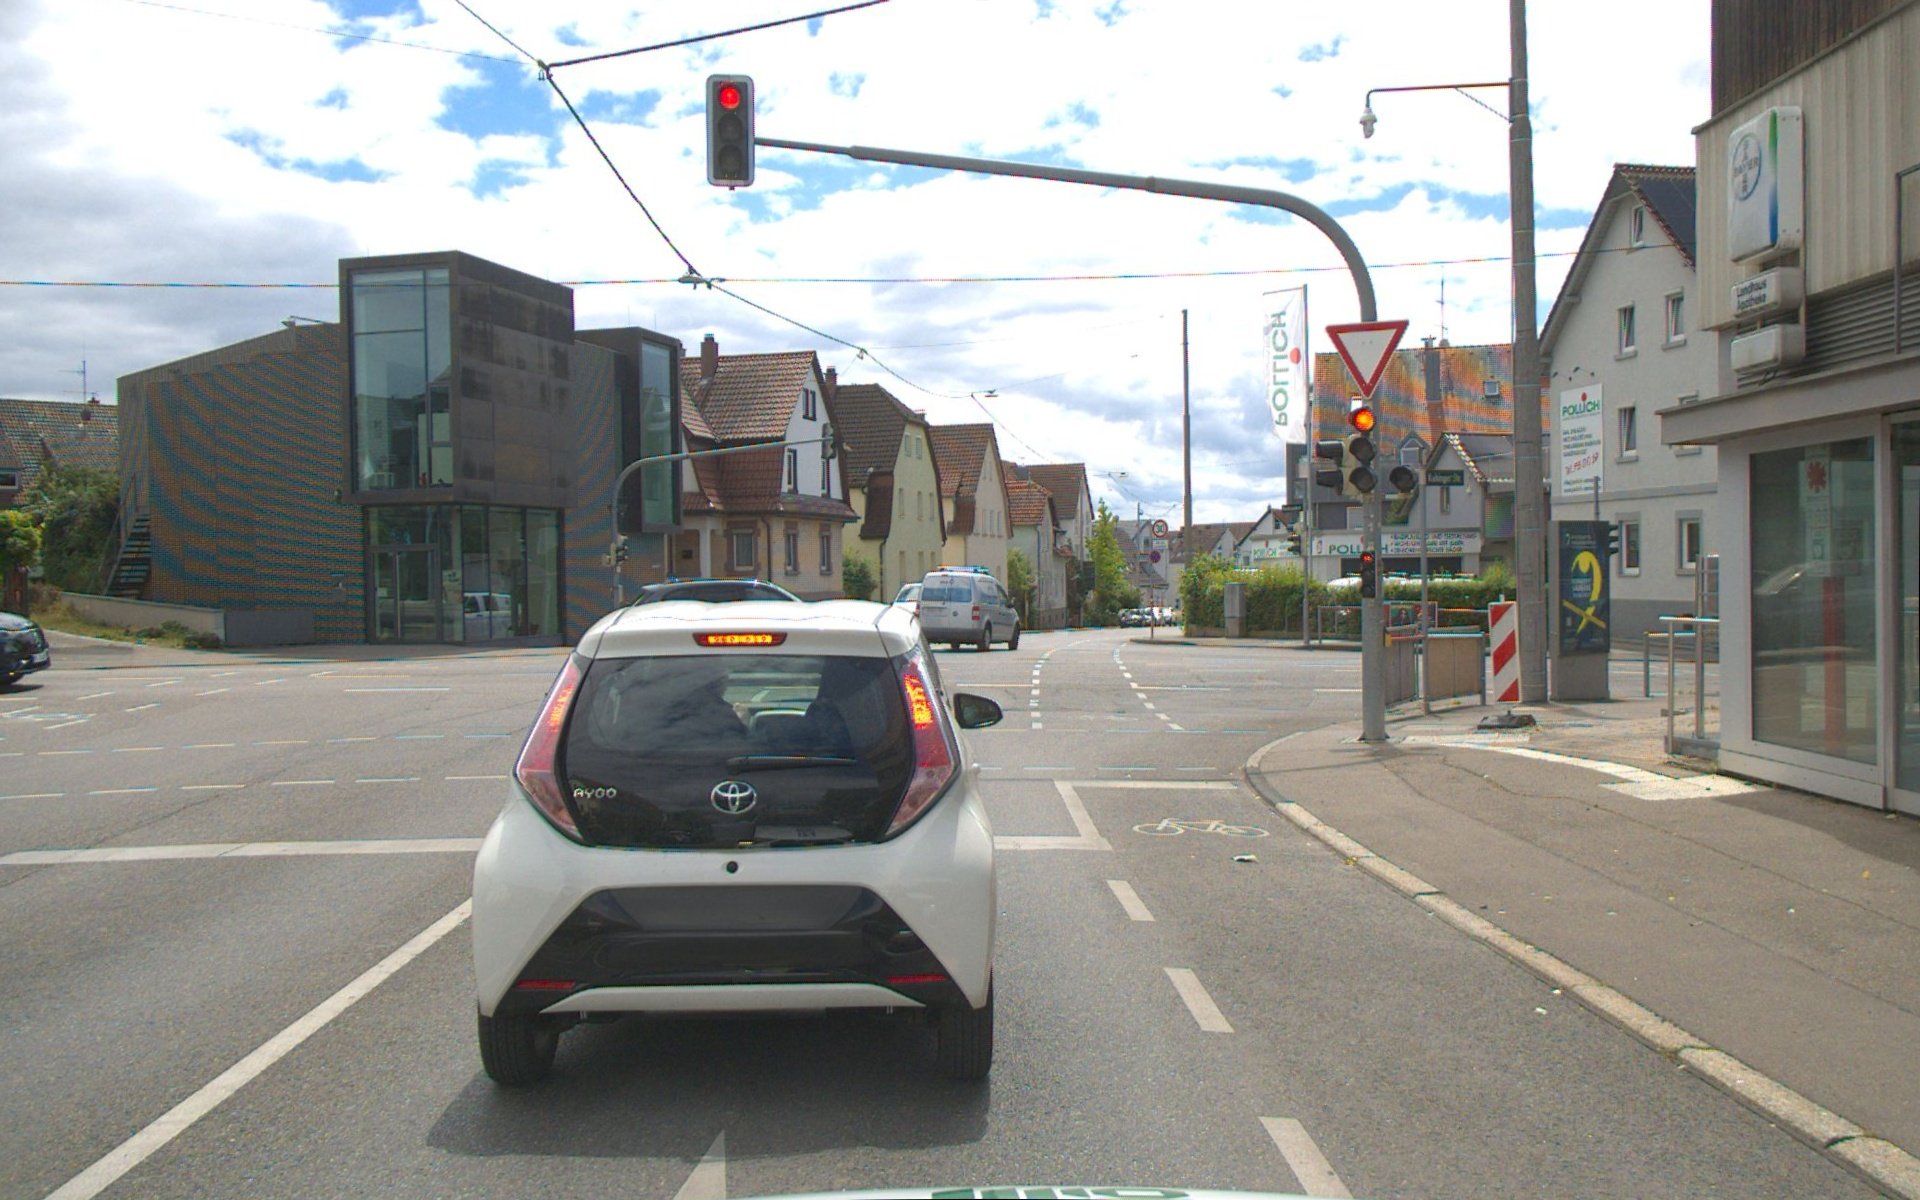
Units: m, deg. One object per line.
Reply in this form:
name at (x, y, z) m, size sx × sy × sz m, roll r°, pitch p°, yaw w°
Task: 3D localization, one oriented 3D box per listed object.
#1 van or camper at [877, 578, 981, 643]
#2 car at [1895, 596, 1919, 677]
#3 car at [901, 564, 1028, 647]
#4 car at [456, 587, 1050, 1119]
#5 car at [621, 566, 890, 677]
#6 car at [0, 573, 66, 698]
van or camper at (-0.931, 0.329, 53.615) m, size 2.070 × 1.959 × 5.289 m, roll 1°, pitch 0°, yaw 14°
car at (21.360, 0.743, 32.725) m, size 4.806 × 1.605 × 1.996 m, roll 0°, pitch 0°, yaw -9°
car at (0.177, 0.120, 40.066) m, size 1.951 × 1.881 × 4.075 m, roll 1°, pitch 0°, yaw 17°
car at (-0.647, 0.697, 6.301) m, size 1.663 × 1.482 × 3.297 m, roll 0°, pitch 0°, yaw -3°
car at (-3.381, 0.319, 27.066) m, size 4.216 × 1.705 × 1.994 m, roll -1°, pitch 0°, yaw -12°
car at (-16.043, 0.536, 24.526) m, size 4.417 × 1.773 × 1.996 m, roll -1°, pitch 2°, yaw -10°
